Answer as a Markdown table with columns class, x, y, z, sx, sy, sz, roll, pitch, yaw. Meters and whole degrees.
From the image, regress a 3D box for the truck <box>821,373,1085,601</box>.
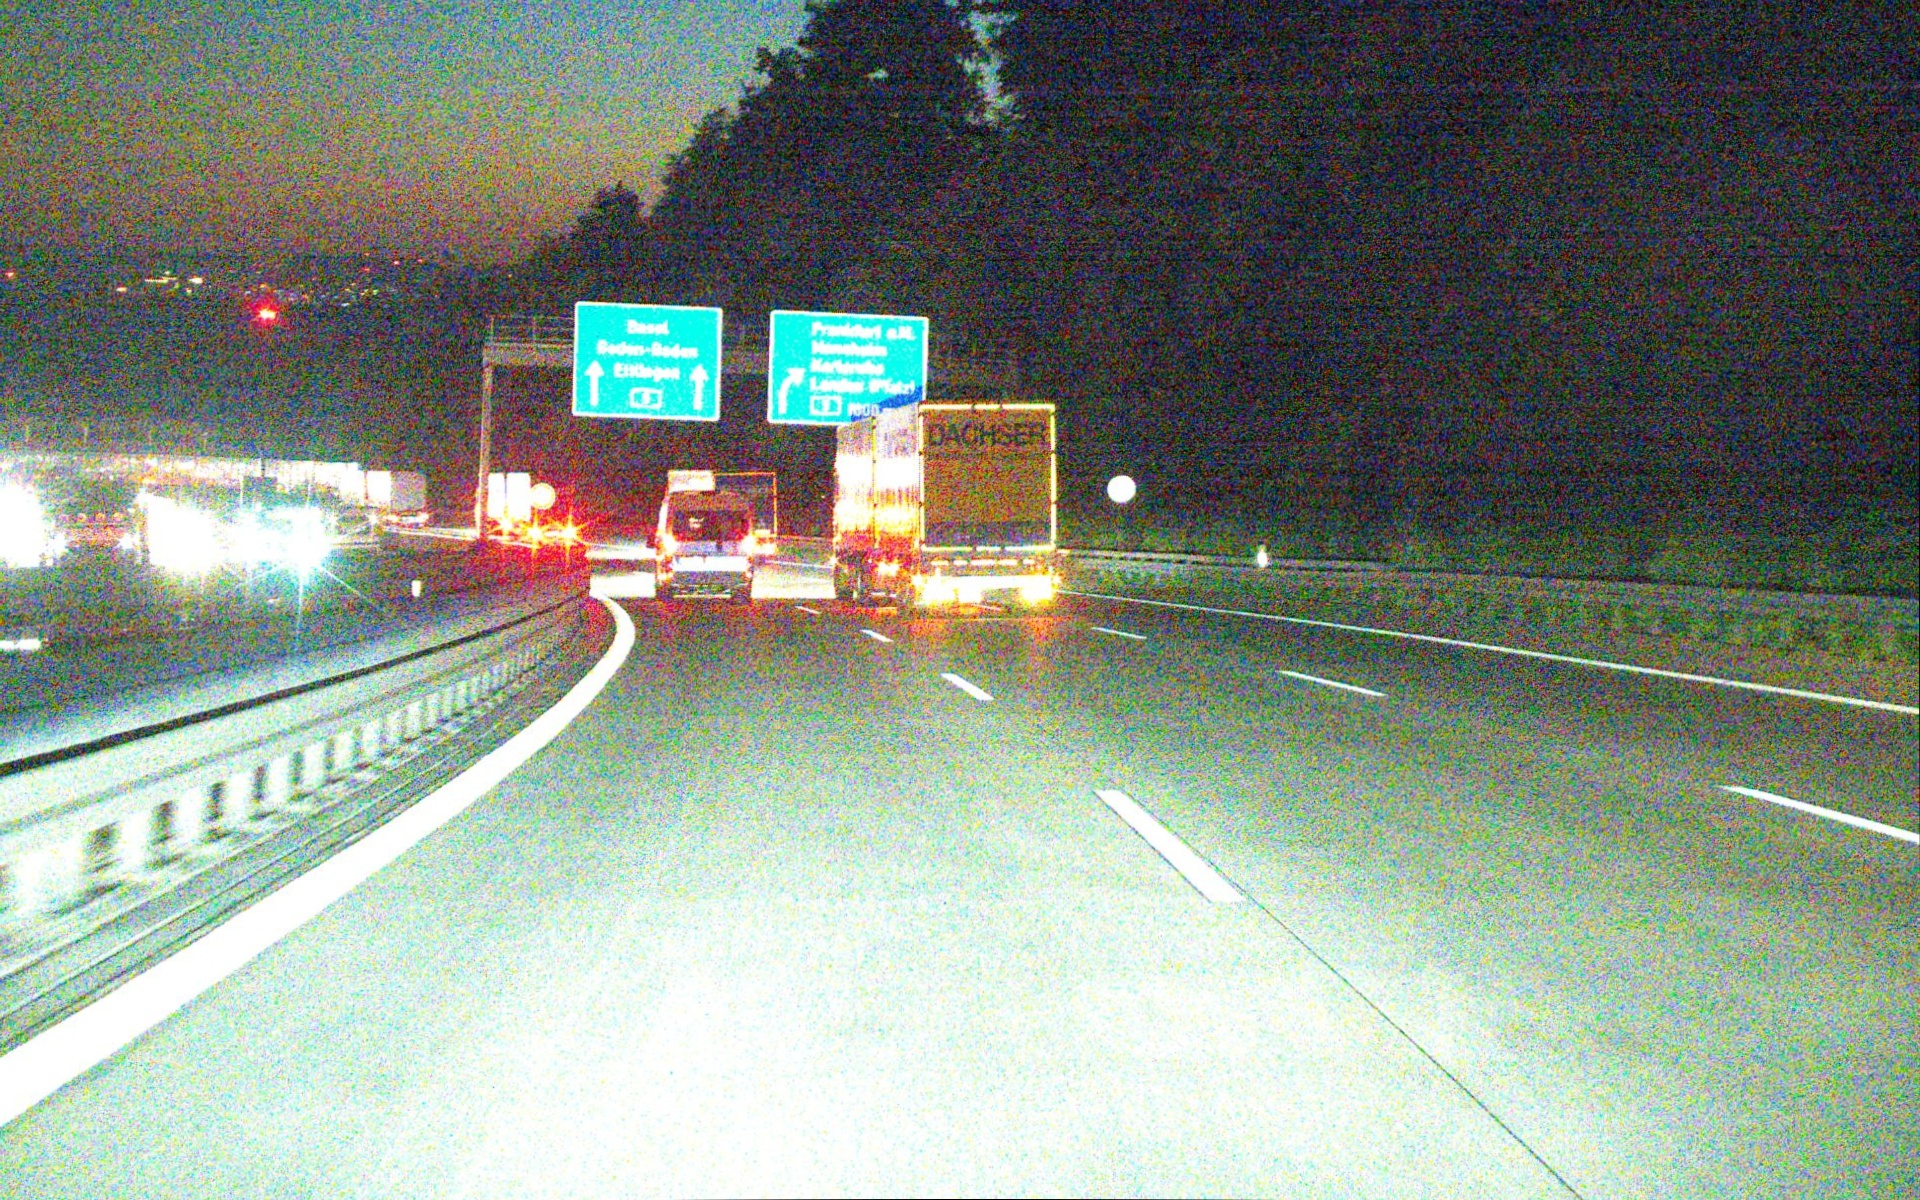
| class | x | y | z | sx | sy | sz | roll | pitch | yaw |
| --- | --- | --- | --- | --- | --- | --- | --- | --- | --- |
| truck | -0.503 | -2.221 | 71.621 | 3.481 | 4.120 | 18.714 | 0 | 1 | -6 |

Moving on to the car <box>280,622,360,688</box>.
| class | x | y | z | sx | sy | sz | roll | pitch | yaw |
| --- | --- | --- | --- | --- | --- | --- | --- | --- | --- |
| car | -15.558 | 1.316 | 83.457 | 1.605 | 1.474 | 4.075 | 1 | 0 | -14 |

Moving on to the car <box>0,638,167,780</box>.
| class | x | y | z | sx | sy | sz | roll | pitch | yaw |
| --- | --- | --- | --- | --- | --- | --- | --- | --- | --- |
| car | -11.347 | 1.316 | 42.845 | 2.139 | 1.445 | 5.114 | -2 | 2 | -5 |

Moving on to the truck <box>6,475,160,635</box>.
| class | x | y | z | sx | sy | sz | roll | pitch | yaw |
| --- | --- | --- | --- | --- | --- | --- | --- | --- | --- |
| truck | -24.435 | -1.297 | 96.107 | 3.417 | 4.208 | 6.284 | -2 | 2 | -9 |

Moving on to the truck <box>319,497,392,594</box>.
| class | x | y | z | sx | sy | sz | roll | pitch | yaw |
| --- | --- | --- | --- | --- | --- | --- | --- | --- | --- |
| truck | -23.155 | -2.106 | 131.649 | 2.654 | 3.578 | 8.552 | 0 | 1 | -10 |

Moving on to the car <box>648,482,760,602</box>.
| class | x | y | z | sx | sy | sz | roll | pitch | yaw |
| --- | --- | --- | --- | --- | --- | --- | --- | --- | --- |
| car | -5.970 | -1.351 | 79.530 | 2.336 | 2.631 | 5.249 | 2 | 1 | -6 |

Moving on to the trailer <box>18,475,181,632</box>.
| class | x | y | z | sx | sy | sz | roll | pitch | yaw |
| --- | --- | --- | --- | --- | --- | --- | --- | --- | --- |
| trailer | -25.352 | -1.454 | 101.914 | 3.435 | 4.226 | 12.836 | -2 | 2 | -9 |

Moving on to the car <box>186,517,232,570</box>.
| class | x | y | z | sx | sy | sz | roll | pitch | yaw |
| --- | --- | --- | --- | --- | --- | --- | --- | --- | --- |
| car | -35.185 | -2.666 | 161.031 | 1.833 | 2.362 | 5.449 | -2 | 2 | -15 |

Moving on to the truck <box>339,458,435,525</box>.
| class | x | y | z | sx | sy | sz | roll | pitch | yaw |
| --- | --- | --- | --- | --- | --- | --- | --- | --- | --- |
| truck | -40.925 | -7.806 | 245.191 | 3.343 | 4.460 | 13.914 | 1 | 2 | -24 |

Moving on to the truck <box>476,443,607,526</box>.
| class | x | y | z | sx | sy | sz | roll | pitch | yaw |
| --- | --- | --- | --- | --- | --- | --- | --- | --- | --- |
| truck | -25.321 | -7.046 | 206.492 | 3.914 | 4.611 | 21.027 | -2 | 3 | -17 |

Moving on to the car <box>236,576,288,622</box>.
| class | x | y | z | sx | sy | sz | roll | pitch | yaw |
| --- | --- | --- | --- | --- | --- | --- | --- | --- | --- |
| car | -23.606 | -0.055 | 116.302 | 1.600 | 1.437 | 4.001 | -2 | 2 | -10 |

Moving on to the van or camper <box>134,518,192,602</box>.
| class | x | y | z | sx | sy | sz | roll | pitch | yaw |
| --- | --- | --- | --- | --- | --- | --- | --- | --- | --- |
| van or camper | -29.423 | -1.504 | 126.854 | 1.833 | 2.961 | 6.402 | -2 | 2 | -15 |

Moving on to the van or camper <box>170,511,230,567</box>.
| class | x | y | z | sx | sy | sz | roll | pitch | yaw |
| --- | --- | --- | --- | --- | --- | --- | --- | --- | --- |
| van or camper | -39.214 | -3.179 | 177.223 | 2.444 | 2.751 | 6.491 | -2 | 2 | -17 |

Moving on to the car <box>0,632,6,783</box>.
| class | x | y | z | sx | sy | sz | roll | pitch | yaw |
| --- | --- | --- | --- | --- | --- | --- | --- | --- | --- |
| car | -10.134 | 1.114 | 31.613 | 1.816 | 1.464 | 4.280 | -1 | 2 | -5 |

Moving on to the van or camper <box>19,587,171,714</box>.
| class | x | y | z | sx | sy | sz | roll | pitch | yaw |
| --- | --- | --- | --- | --- | --- | --- | --- | --- | --- |
| van or camper | -15.386 | 0.853 | 61.371 | 1.993 | 2.006 | 5.223 | -2 | 2 | -8 |

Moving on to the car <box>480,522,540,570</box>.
| class | x | y | z | sx | sy | sz | roll | pitch | yaw |
| --- | --- | --- | --- | --- | --- | --- | --- | --- | --- |
| car | -14.270 | -1.729 | 108.853 | 1.600 | 1.437 | 4.001 | -2 | 2 | -11 |

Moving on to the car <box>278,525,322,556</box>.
| class | x | y | z | sx | sy | sz | roll | pitch | yaw |
| --- | --- | --- | --- | --- | --- | --- | --- | --- | --- |
| car | -32.789 | -2.979 | 170.633 | 1.819 | 1.446 | 4.507 | -2 | 2 | -15 |

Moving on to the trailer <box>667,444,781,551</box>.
| class | x | y | z | sx | sy | sz | roll | pitch | yaw |
| --- | --- | --- | --- | --- | --- | --- | --- | --- | --- |
| trailer | -9.909 | -4.365 | 142.716 | 2.853 | 4.053 | 13.211 | -1 | 3 | -12 |
